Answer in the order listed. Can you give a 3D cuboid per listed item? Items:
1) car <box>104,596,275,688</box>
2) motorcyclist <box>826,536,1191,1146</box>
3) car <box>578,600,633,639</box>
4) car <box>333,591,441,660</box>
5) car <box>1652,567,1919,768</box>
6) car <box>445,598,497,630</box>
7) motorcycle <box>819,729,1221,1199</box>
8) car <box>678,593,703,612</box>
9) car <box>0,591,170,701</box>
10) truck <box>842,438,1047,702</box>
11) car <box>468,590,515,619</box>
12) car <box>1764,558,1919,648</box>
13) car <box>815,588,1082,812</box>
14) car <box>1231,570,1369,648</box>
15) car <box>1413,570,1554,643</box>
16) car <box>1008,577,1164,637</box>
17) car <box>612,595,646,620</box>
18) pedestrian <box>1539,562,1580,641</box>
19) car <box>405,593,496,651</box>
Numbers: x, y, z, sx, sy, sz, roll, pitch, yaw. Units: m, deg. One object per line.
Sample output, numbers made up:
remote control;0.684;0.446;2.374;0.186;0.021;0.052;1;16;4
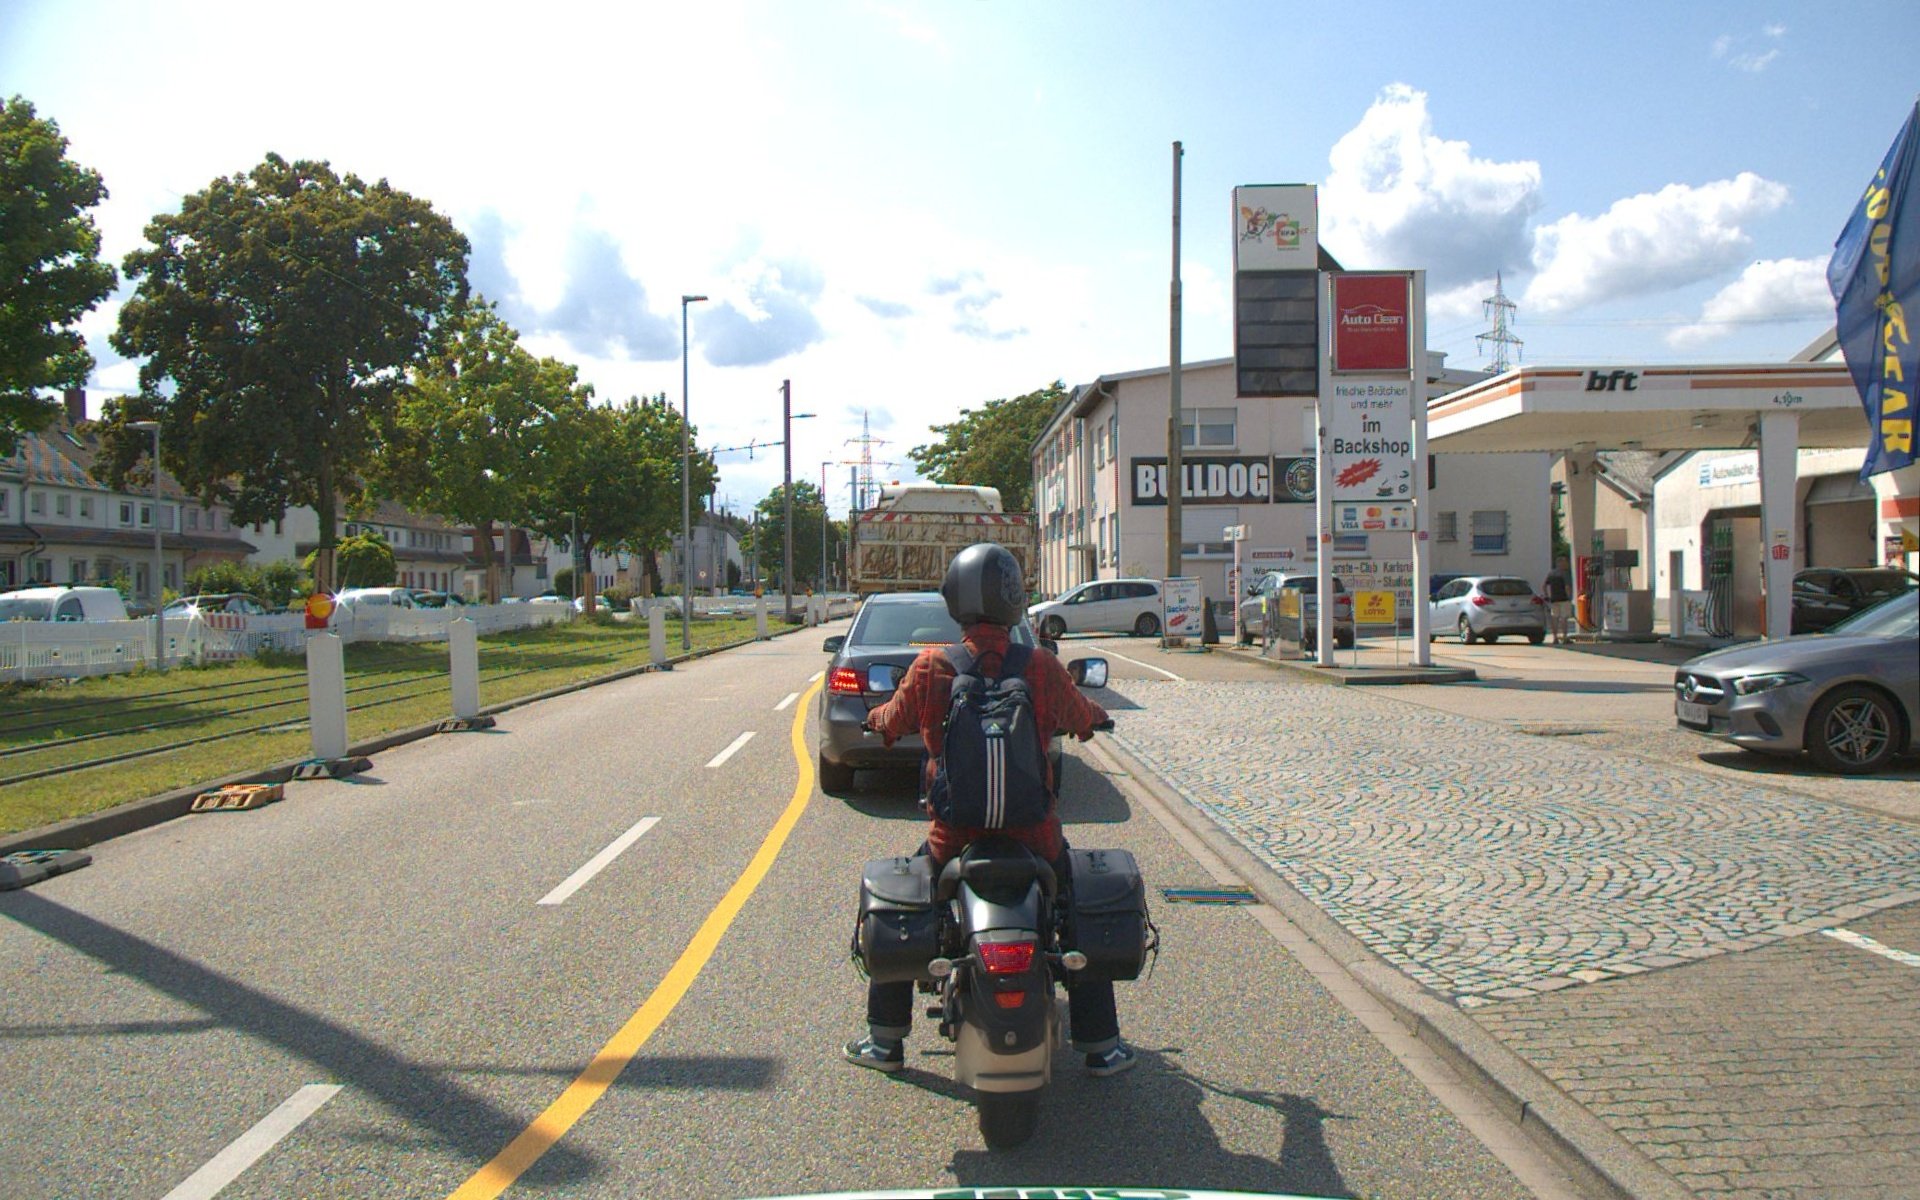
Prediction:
car;-16.671;0.855;36.026;1.740;1.805;4.227;-1;0;-1
motorcyclist;0.125;0.645;5.019;0.959;1.630;1.087;-1;0;-1
car;-17.057;0.903;79.685;1.740;1.753;4.127;-1;0;-1
car;-16.940;0.713;49.082;1.740;1.900;4.127;-1;0;-1
car;7.802;0.457;12.794;4.183;1.440;1.675;-1;0;3
car;-28.303;0.770;95.833;1.740;1.753;4.127;-1;0;-1
motorcycle;0.127;0.999;5.325;0.959;0.913;2.653;-1;0;-1
car;-26.086;0.267;160.257;1.740;1.753;4.250;-1;0;-1
car;-16.435;0.784;30.389;1.740;1.853;4.363;-1;0;-1
truck;-0.261;-0.423;25.366;2.585;3.354;8.055;-1;0;-1
car;-29.429;0.266;103.950;1.740;1.753;4.127;-1;0;-1
car;16.620;0.023;30.323;1.770;1.529;3.832;-1;0;-3
car;-0.106;0.667;13.209;1.786;1.478;3.999;1;0;-1
car;7.459;0.174;36.633;1.636;1.589;4.236;-1;0;-8
car;11.723;0.117;37.268;1.770;1.529;3.831;-1;0;-3
car;3.570;0.181;47.077;4.152;1.570;1.669;-1;0;-9
car;-24.970;0.536;124.851;1.740;1.753;4.127;-1;0;-1
pedestrian;12.955;0.028;35.715;0.696;1.685;0.546;-1;0;35
car;-16.972;0.696;55.260;1.740;1.837;4.127;-1;0;-1
